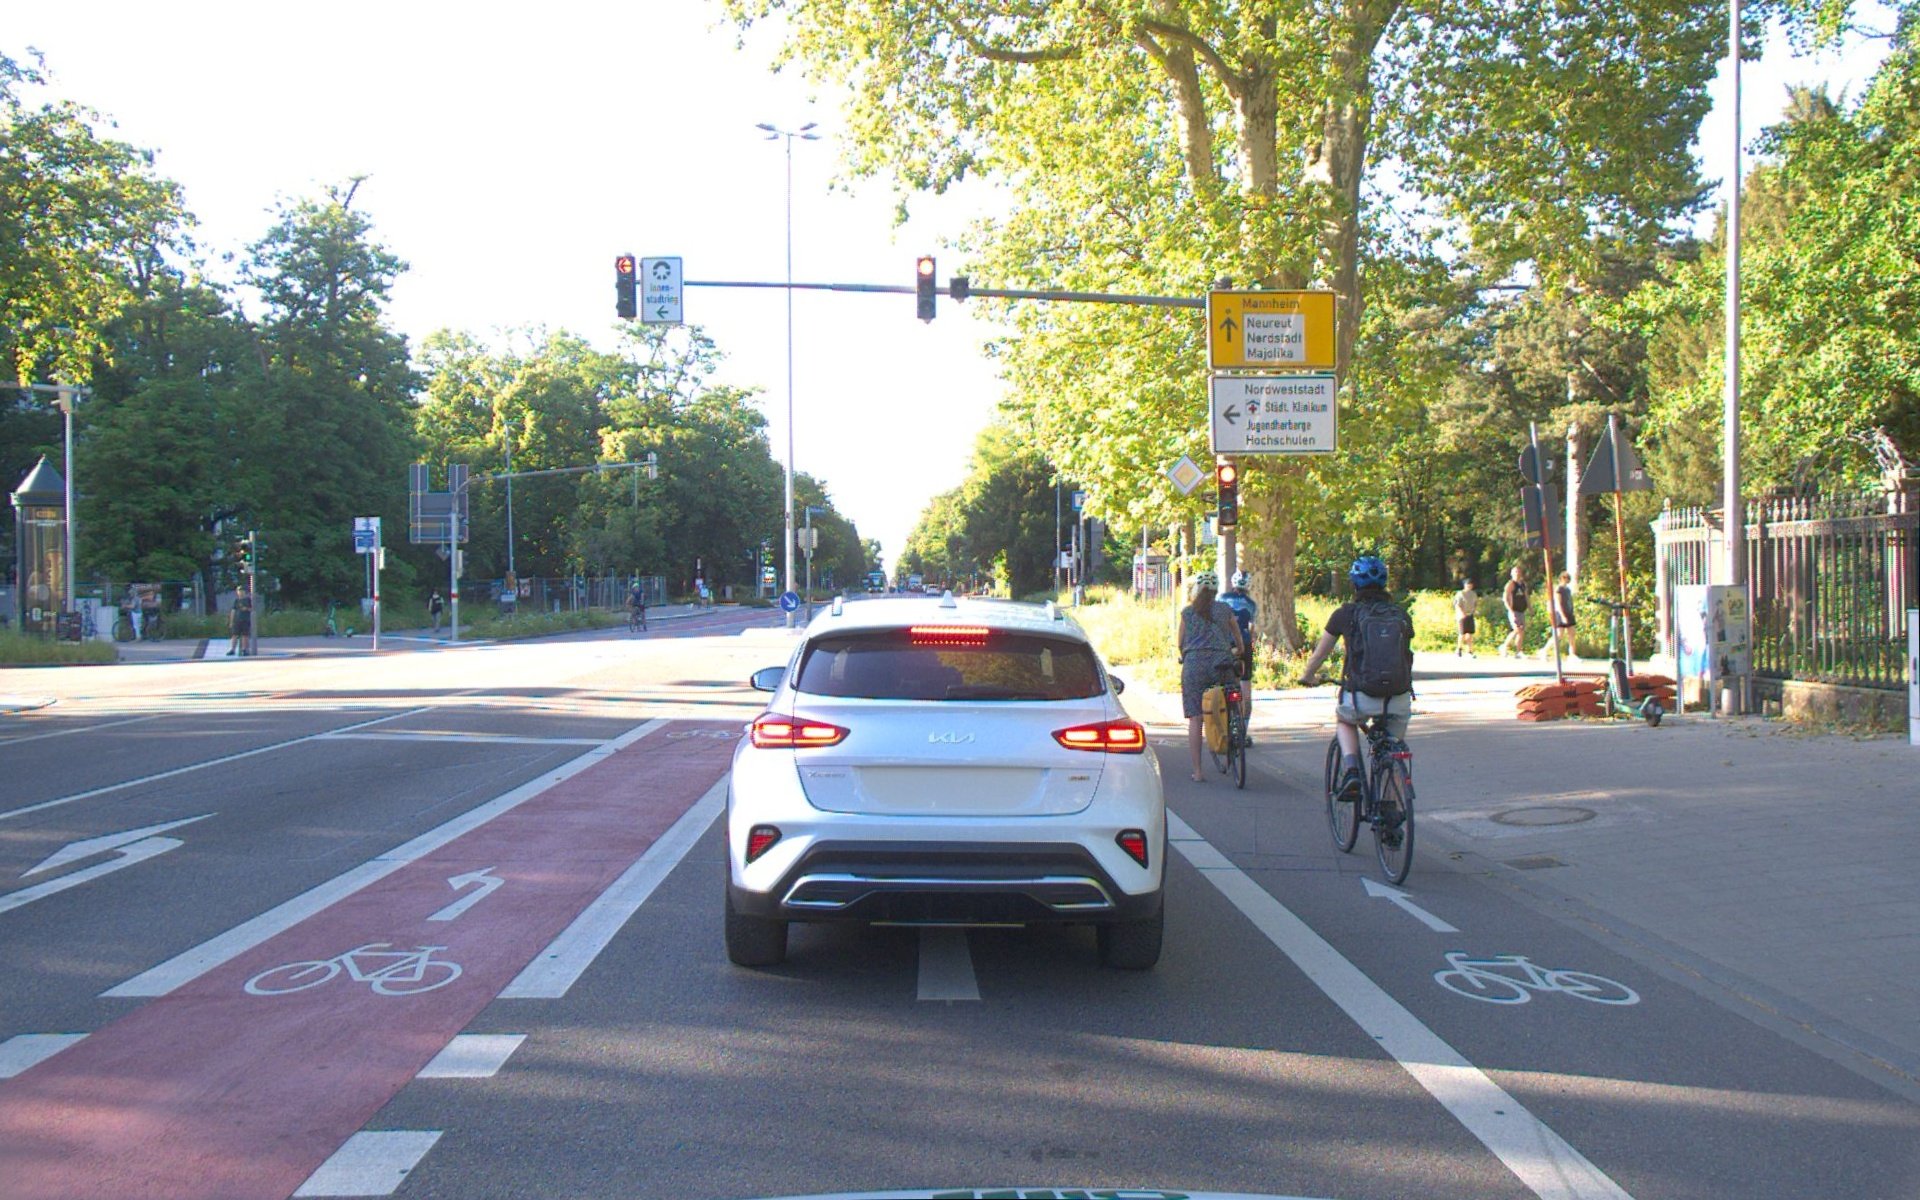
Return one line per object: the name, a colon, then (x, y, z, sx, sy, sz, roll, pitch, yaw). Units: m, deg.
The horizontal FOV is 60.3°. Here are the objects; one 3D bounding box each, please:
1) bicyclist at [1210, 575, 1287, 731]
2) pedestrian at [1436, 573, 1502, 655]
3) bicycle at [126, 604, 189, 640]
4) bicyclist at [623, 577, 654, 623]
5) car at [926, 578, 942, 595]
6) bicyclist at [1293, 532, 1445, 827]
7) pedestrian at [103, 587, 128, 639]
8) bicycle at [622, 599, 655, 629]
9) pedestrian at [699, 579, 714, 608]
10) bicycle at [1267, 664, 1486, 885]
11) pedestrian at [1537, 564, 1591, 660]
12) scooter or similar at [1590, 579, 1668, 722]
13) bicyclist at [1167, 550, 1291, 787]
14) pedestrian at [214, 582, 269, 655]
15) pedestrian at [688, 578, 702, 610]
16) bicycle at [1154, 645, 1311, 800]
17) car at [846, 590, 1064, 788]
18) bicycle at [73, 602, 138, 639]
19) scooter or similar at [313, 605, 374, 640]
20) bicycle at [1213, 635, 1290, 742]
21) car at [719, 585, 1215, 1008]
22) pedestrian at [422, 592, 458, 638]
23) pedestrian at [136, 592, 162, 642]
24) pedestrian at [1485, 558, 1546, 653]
bicyclist: (2.903, 0.525, 16.685, 0.543, 1.504, 0.716, -3, 0, -2)
pedestrian: (9.735, 0.271, 31.659, 0.808, 1.544, 0.909, 1, 0, -26)
bicycle: (-26.029, 0.712, 53.634, 1.826, 1.168, 0.290, 0, 0, -8)
bicyclist: (-11.793, -0.003, 60.734, 0.857, 1.636, 1.188, -1, 0, 1)
car: (-3.321, -1.734, 211.464, 1.953, 2.049, 3.999, -1, 1, -1)
bicyclist: (2.342, 0.441, 9.537, 0.652, 1.630, 0.720, 1, 0, -2)
pedestrian: (-27.384, 0.434, 53.633, 0.617, 1.671, 0.444, 0, 0, -11)
bicycle: (-11.783, 0.498, 60.662, 0.650, 1.006, 2.504, -1, 1, 1)
pedestrian: (-15.843, -0.411, 103.391, 0.769, 1.817, 0.751, 0, 0, 0)
bicycle: (2.336, 0.940, 9.551, 0.655, 1.027, 2.080, 1, 1, -2)
pedestrian: (11.044, 0.216, 30.242, 0.676, 1.729, 0.643, -1, 0, -7)
scooter or similar: (6.560, 0.473, 16.245, 0.223, 1.350, 1.171, -1, 0, -2)
bicyclist: (2.170, 0.531, 13.466, 0.738, 1.827, 1.164, 1, 0, -2)
pedestrian: (-20.352, 0.518, 46.886, 0.974, 2.049, 1.191, 0, 0, 4)
pedestrian: (-16.759, -0.377, 104.576, 0.627, 2.049, 0.754, 0, 0, 13)
bicycle: (2.159, 0.934, 13.465, 0.742, 1.031, 2.568, 1, 1, -2)
car: (-0.110, 0.693, 14.824, 1.694, 1.509, 3.515, -1, 1, -3)
bicycle: (-27.819, 0.664, 53.877, 1.826, 1.168, 0.442, 0, 0, -8)
scooter or similar: (-20.911, 0.747, 56.165, 0.697, 1.144, 1.916, 0, 0, 32)
bicycle: (2.926, 0.865, 16.700, 0.393, 0.973, 1.550, -3, 0, -2)
car: (-0.043, 0.684, 7.917, 1.785, 1.506, 3.934, 0, 1, -2)
pedestrian: (-18.936, 0.531, 60.266, 1.067, 1.631, 0.999, -1, 0, -7)
pedestrian: (-26.095, 0.553, 53.217, 0.617, 1.608, 0.444, 0, 0, -11)
pedestrian: (10.752, 0.107, 32.038, 0.802, 1.802, 0.831, -1, 0, -8)
